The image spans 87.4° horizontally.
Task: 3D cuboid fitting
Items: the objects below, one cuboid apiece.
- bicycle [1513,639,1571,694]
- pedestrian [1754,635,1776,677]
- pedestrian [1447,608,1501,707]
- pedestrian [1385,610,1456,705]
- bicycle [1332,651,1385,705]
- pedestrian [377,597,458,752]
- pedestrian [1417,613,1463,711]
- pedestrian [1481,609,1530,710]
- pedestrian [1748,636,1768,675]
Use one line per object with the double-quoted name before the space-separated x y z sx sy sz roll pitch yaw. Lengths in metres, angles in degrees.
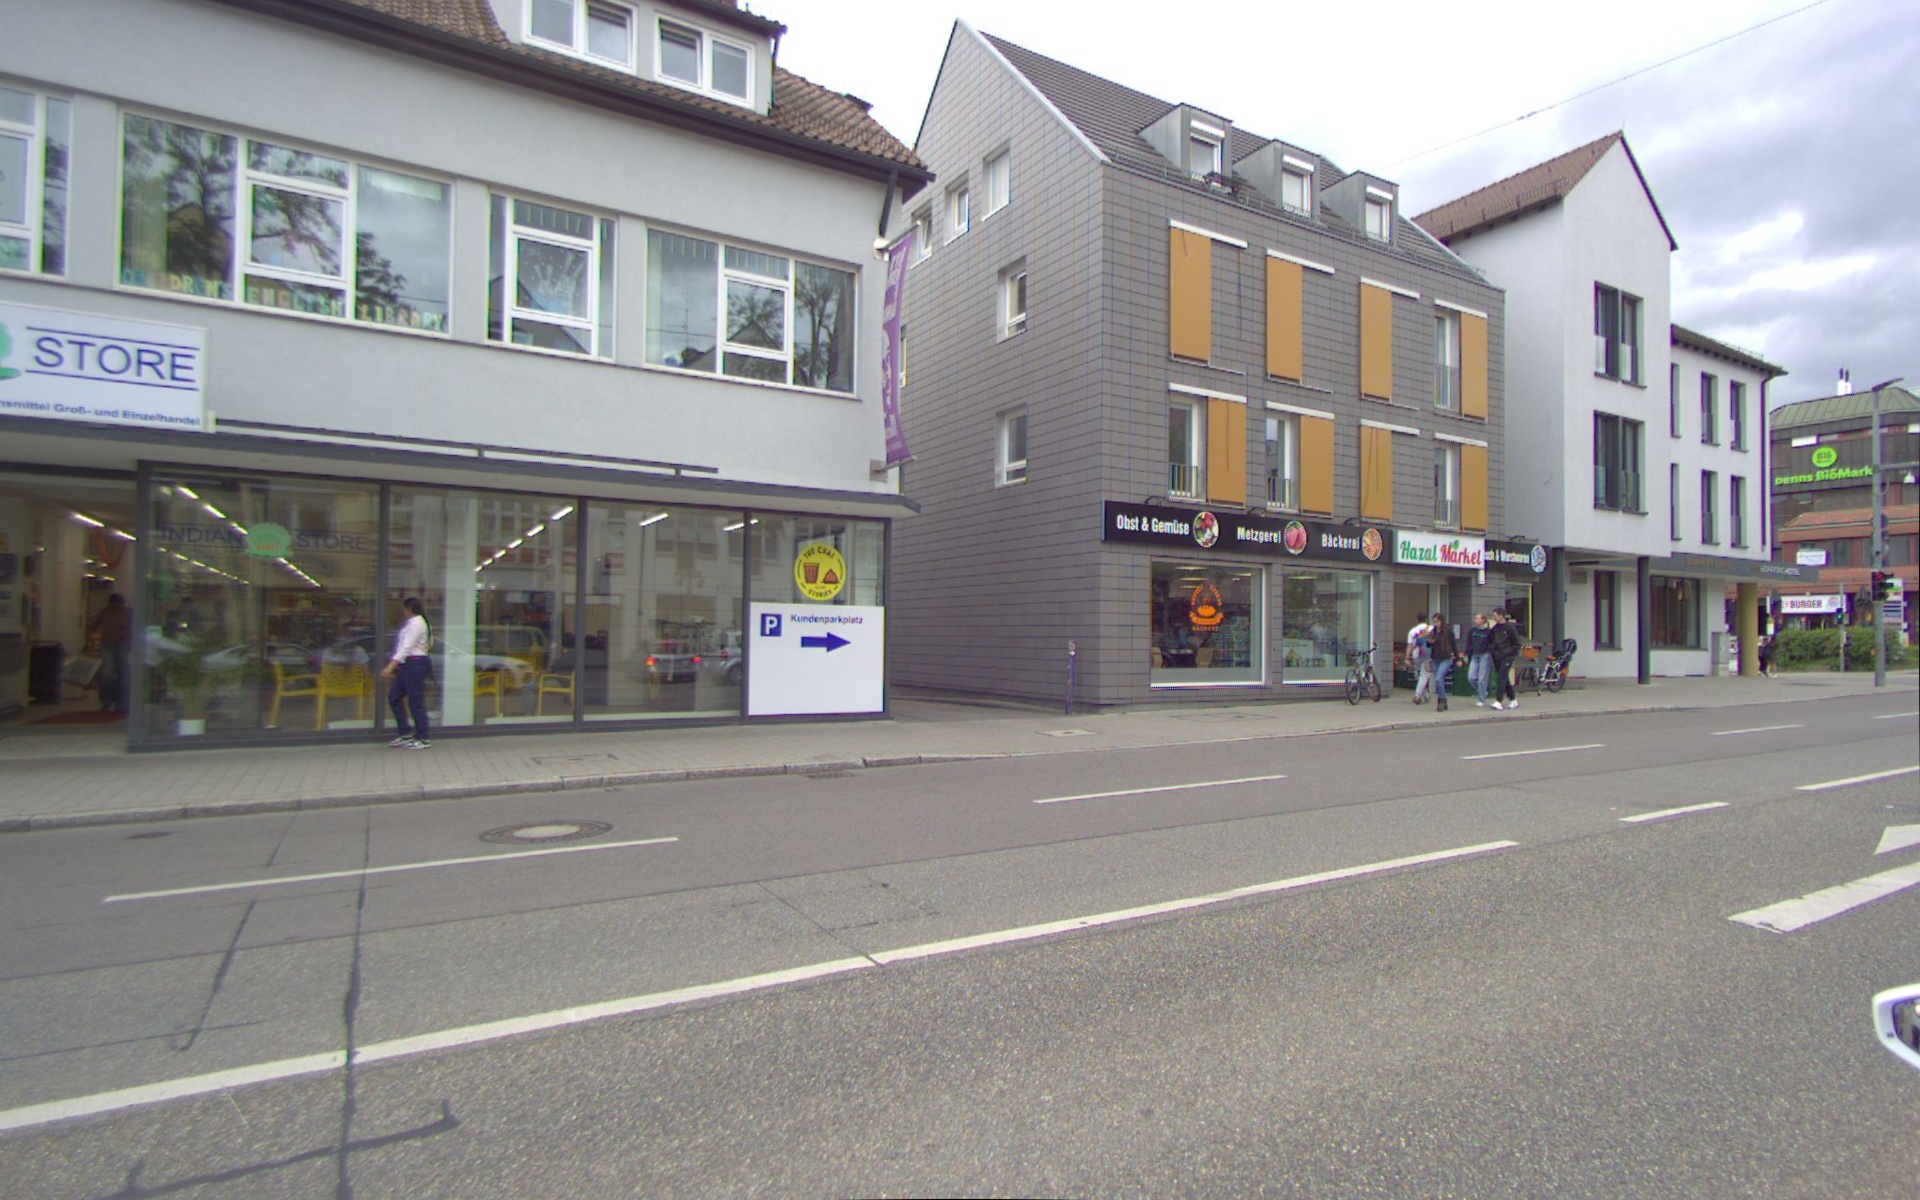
"bicycle" 13.263 1.499 22.887 1.807 1.201 0.384 1 -2 -34
"pedestrian" 33.138 2.287 41.373 0.694 1.680 0.936 0 -1 39
"pedestrian" 9.663 1.058 18.884 0.641 1.814 0.678 1 -1 -31
"pedestrian" 8.766 1.074 19.129 0.969 1.728 0.750 1 2 -30
"bicycle" 7.603 1.472 19.130 1.472 0.966 0.323 2 -2 -42
"pedestrian" -5.990 0.795 11.102 0.744 1.631 0.725 1 -1 -30
"pedestrian" 8.445 1.071 17.670 0.643 1.672 0.557 0 -1 36
"pedestrian" 9.912 1.066 18.251 0.640 1.799 0.565 1 -1 -34
"pedestrian" 34.277 2.367 43.155 0.654 1.671 0.790 0 -1 39
